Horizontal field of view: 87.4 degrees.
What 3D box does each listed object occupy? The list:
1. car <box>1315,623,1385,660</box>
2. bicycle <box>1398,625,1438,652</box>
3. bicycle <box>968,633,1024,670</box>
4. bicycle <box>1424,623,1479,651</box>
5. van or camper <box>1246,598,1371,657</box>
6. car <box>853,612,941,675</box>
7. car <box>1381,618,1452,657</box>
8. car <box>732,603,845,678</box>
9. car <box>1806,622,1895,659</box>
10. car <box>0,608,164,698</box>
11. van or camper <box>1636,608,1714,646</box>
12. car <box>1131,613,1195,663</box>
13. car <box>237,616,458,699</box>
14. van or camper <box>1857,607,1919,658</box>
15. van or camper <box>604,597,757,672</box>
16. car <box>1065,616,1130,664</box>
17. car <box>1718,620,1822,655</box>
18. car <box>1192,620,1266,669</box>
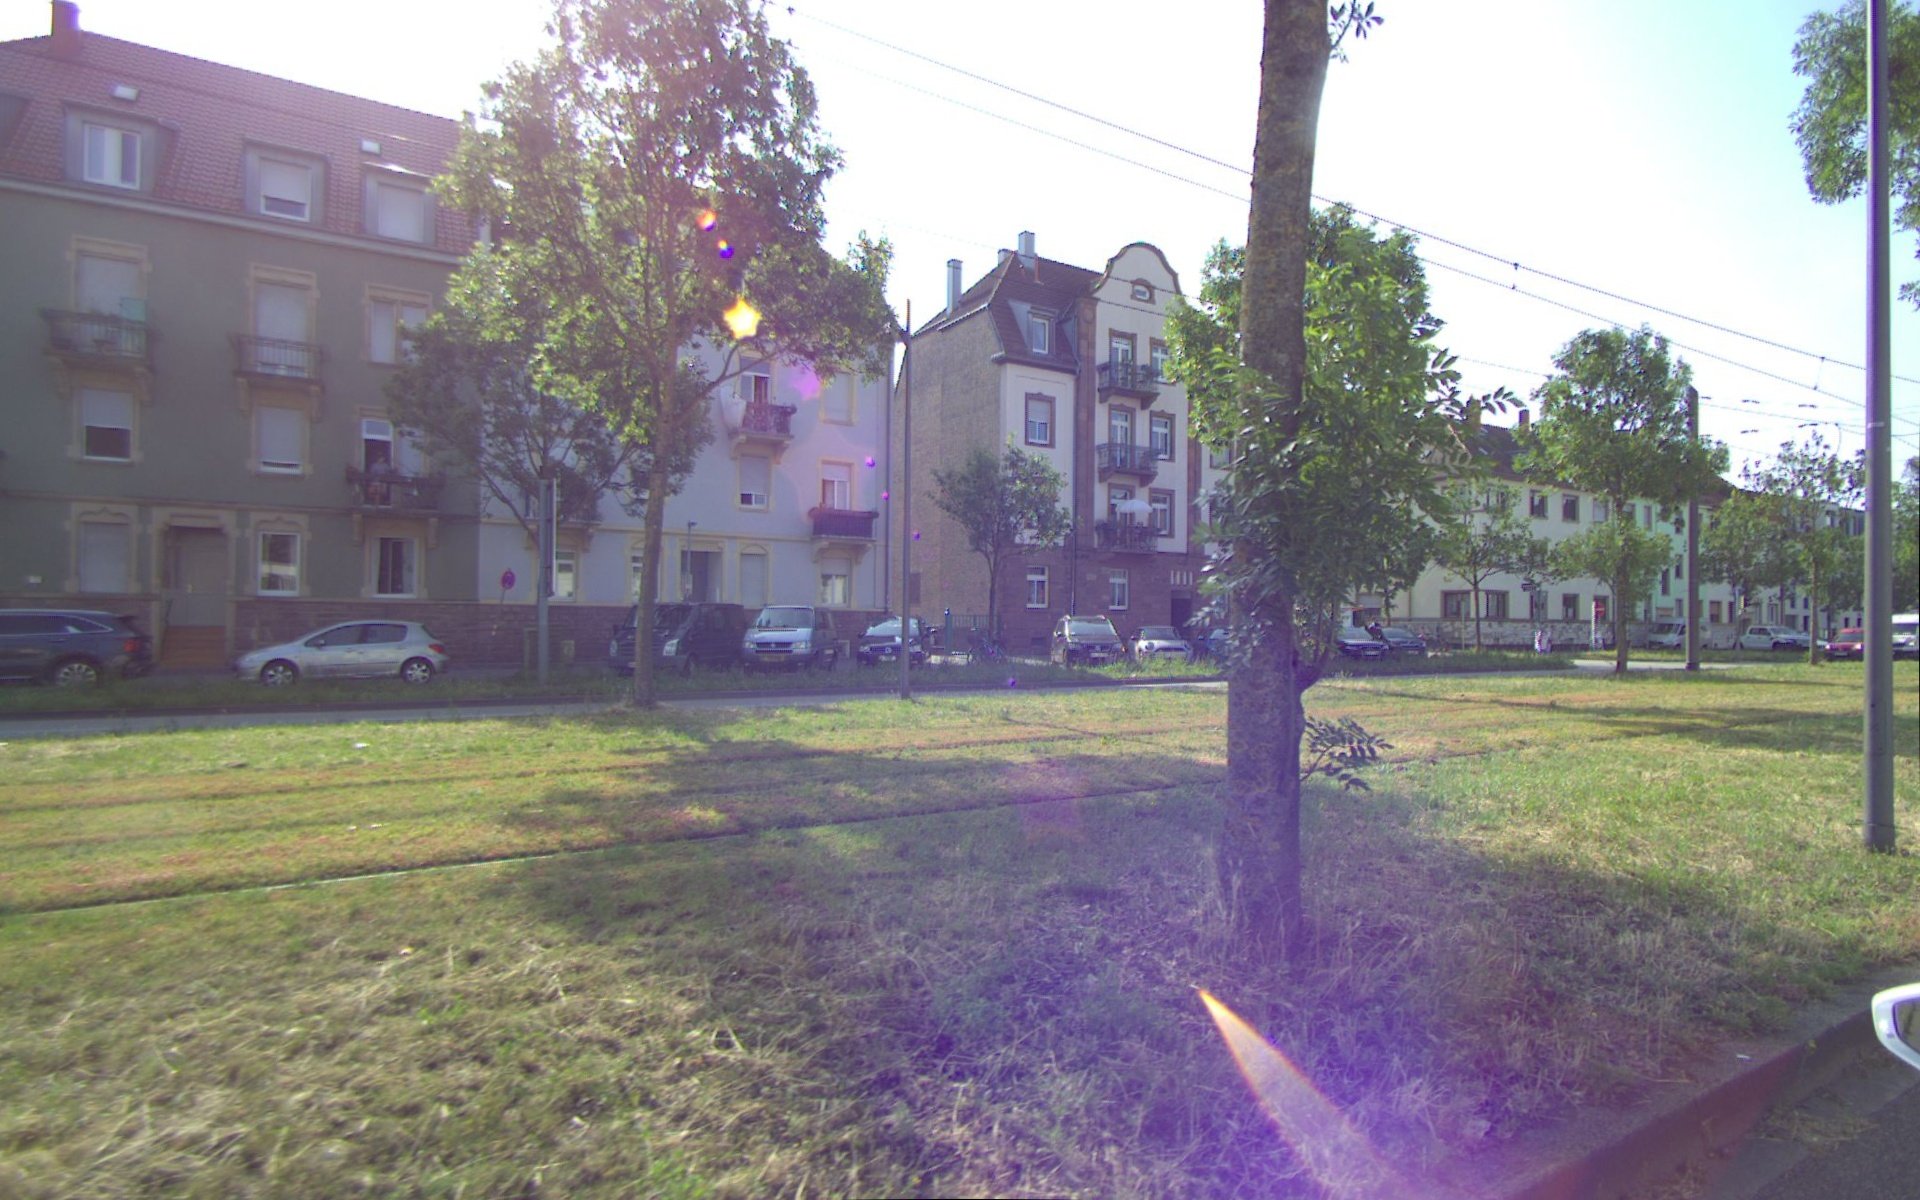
[{"bbox_3d":[14.680,1.547,37.954,1.467,1.176,3.165,2,0,2],"label":"car"},{"bbox_3d":[25.811,2.147,56.669,0.961,1.378,3.059,2,1,3],"label":"bicycle"},{"bbox_3d":[1.107,1.548,30.566,0.460,1.063,1.990,3,1,45],"label":"bicycle"},{"bbox_3d":[27.921,2.094,57.096,1.090,1.481,2.662,1,1,-27],"label":"bicycle"},{"bbox_3d":[16.477,1.303,47.318,6.286,2.601,2.028,2,1,-32],"label":"van or camper"},{"bbox_3d":[-1.646,1.140,27.782,1.936,1.438,4.477,2,0,2],"label":"car"},{"bbox_3d":[18.072,1.459,39.923,1.467,1.344,3.165,2,1,3],"label":"car"},{"bbox_3d":[-4.325,0.949,26.159,2.016,1.645,5.221,2,0,0],"label":"car"},{"bbox_3d":[45.253,2.047,51.039,4.243,1.717,1.957,2,1,-28],"label":"car"},{"bbox_3d":[-18.883,1.012,19.854,4.724,1.650,1.982,1,1,-33],"label":"car"},{"bbox_3d":[47.946,1.832,67.328,5.758,2.360,1.984,2,1,-30],"label":"van or camper"},{"bbox_3d":[6.742,1.218,33.624,1.545,1.436,4.001,2,0,4],"label":"car"},{"bbox_3d":[-13.811,1.251,22.869,4.109,1.650,1.880,1,1,-31],"label":"car"},{"bbox_3d":[51.193,1.750,54.483,5.963,2.565,2.191,2,1,-32],"label":"van or camper"},{"bbox_3d":[-6.877,0.778,25.349,1.962,1.645,4.853,2,0,7],"label":"van or camper"},{"bbox_3d":[4.339,1.237,32.122,1.606,1.286,4.001,2,0,2],"label":"car"},{"bbox_3d":[47.233,2.161,58.737,1.960,1.761,5.328,2,0,3],"label":"car"},{"bbox_3d":[9.126,1.464,34.306,1.546,1.436,4.001,2,0,2],"label":"car"}]
